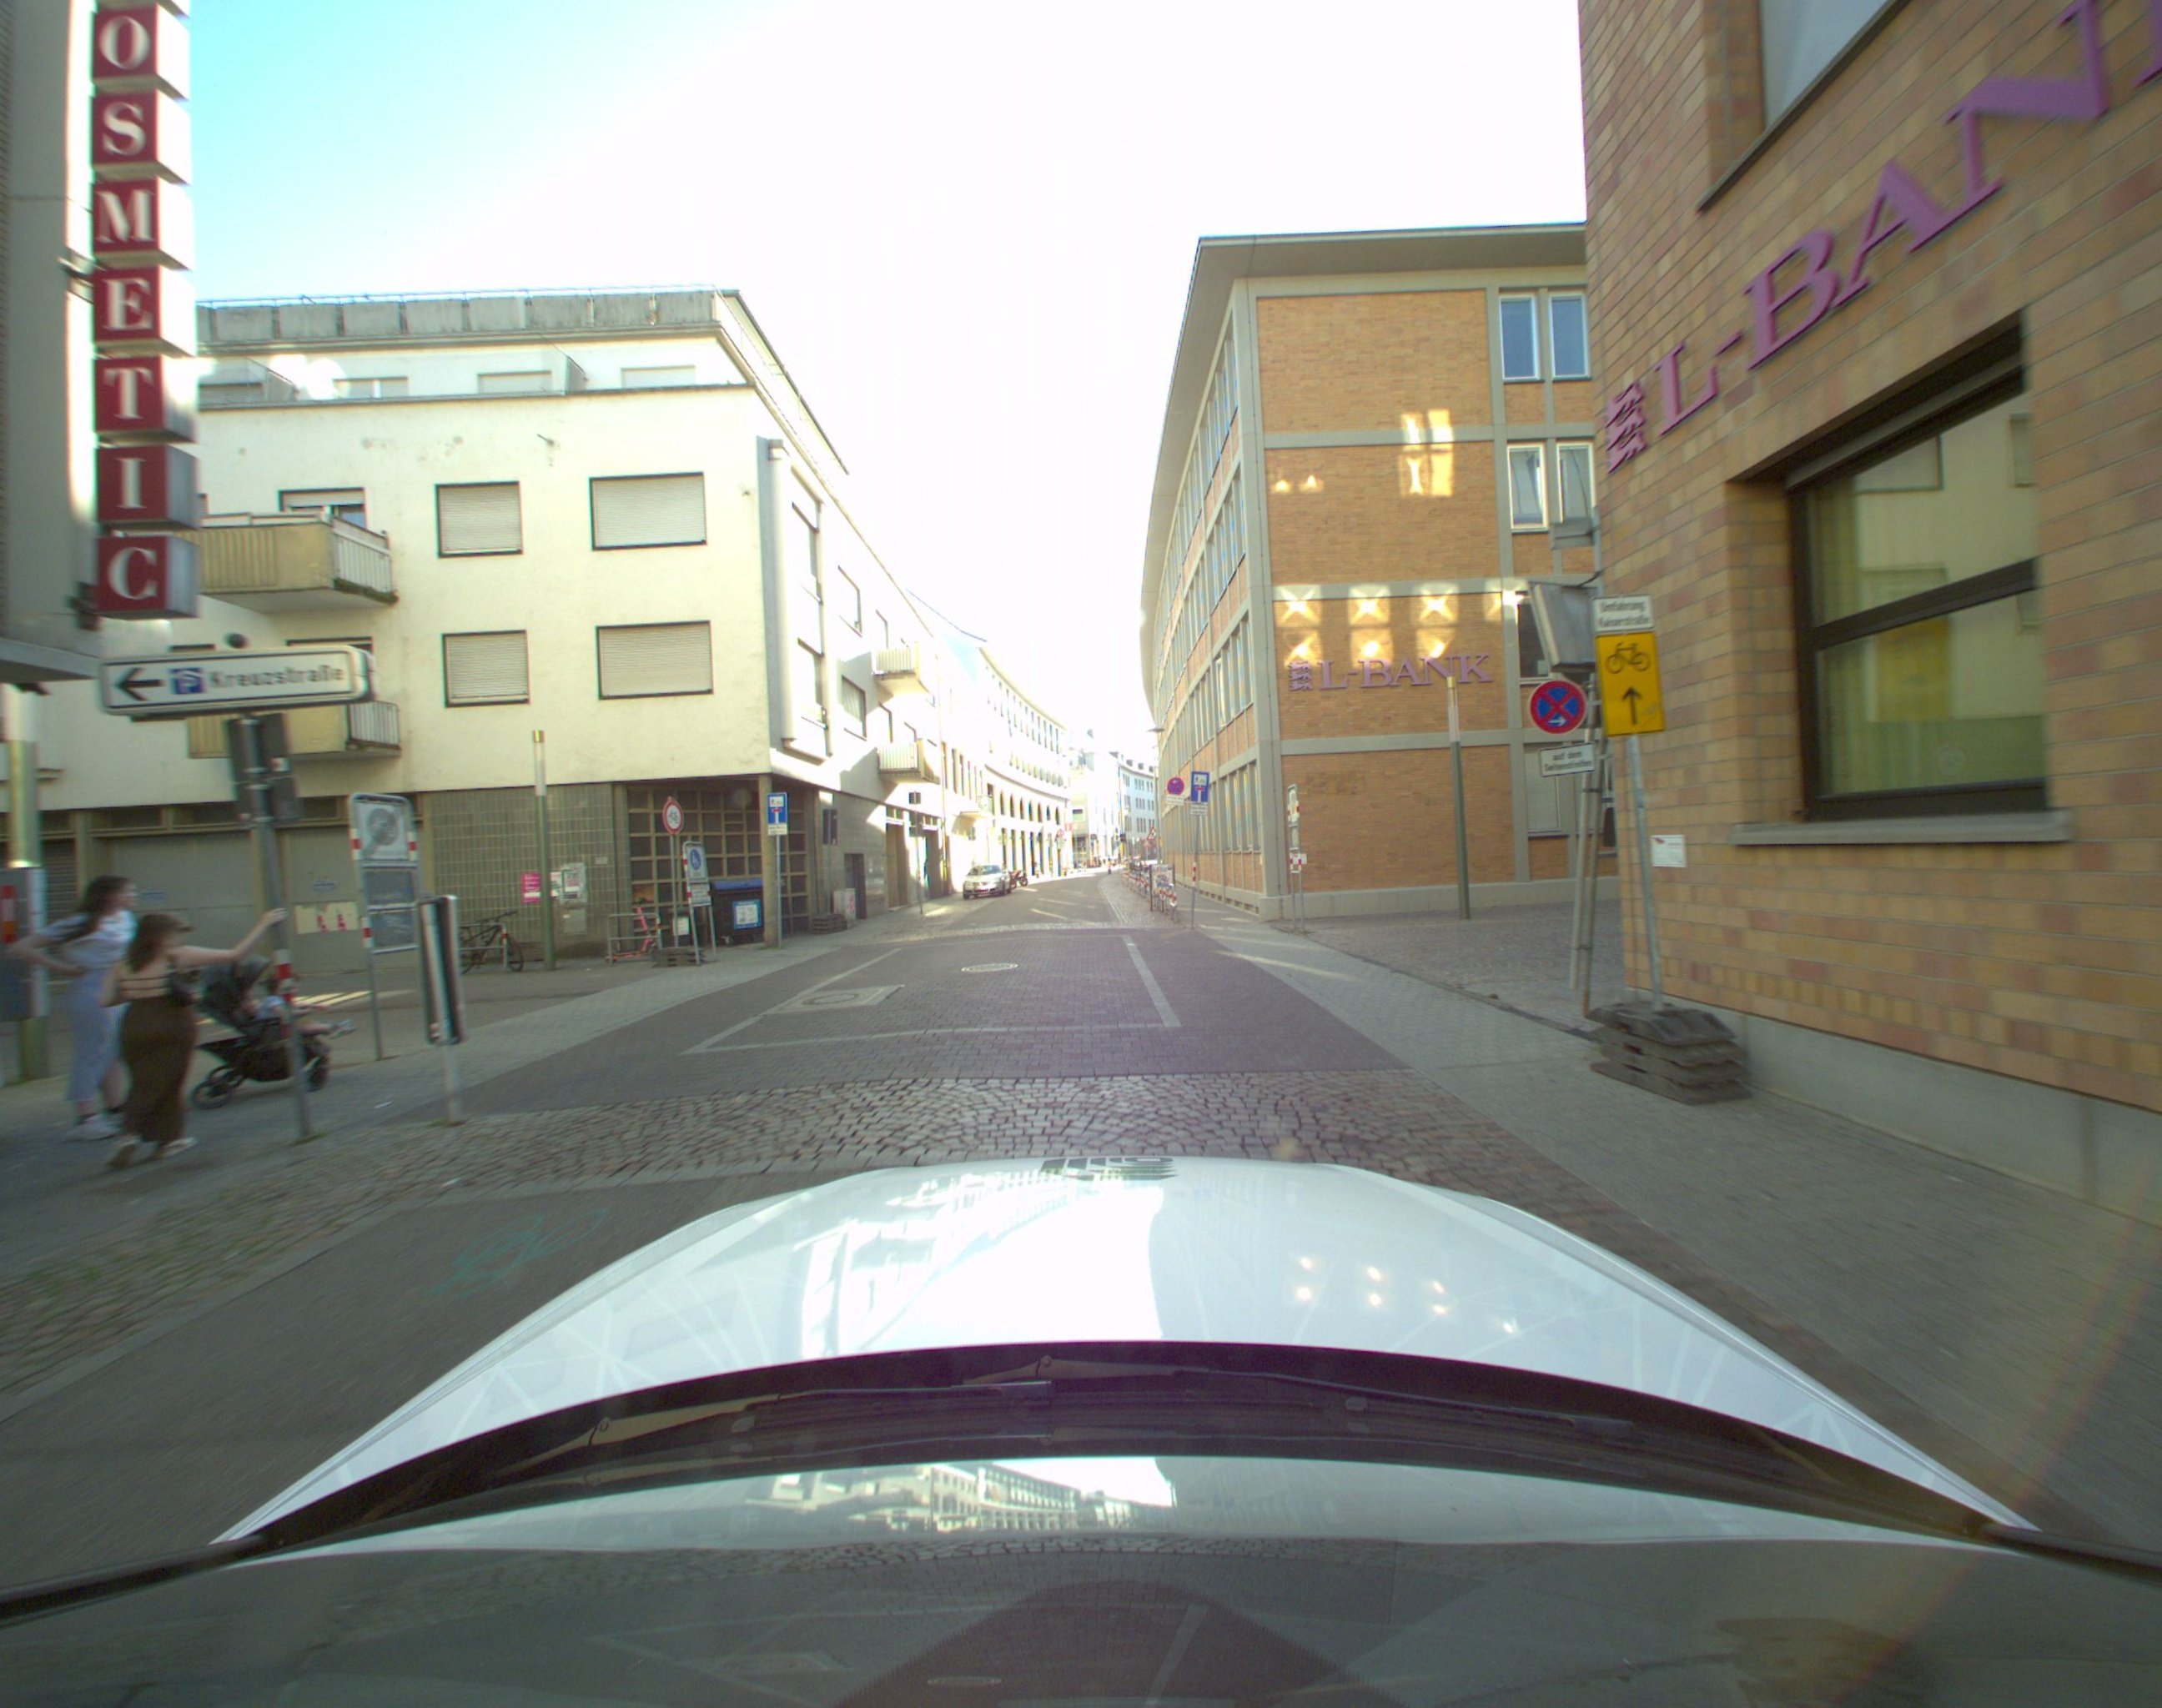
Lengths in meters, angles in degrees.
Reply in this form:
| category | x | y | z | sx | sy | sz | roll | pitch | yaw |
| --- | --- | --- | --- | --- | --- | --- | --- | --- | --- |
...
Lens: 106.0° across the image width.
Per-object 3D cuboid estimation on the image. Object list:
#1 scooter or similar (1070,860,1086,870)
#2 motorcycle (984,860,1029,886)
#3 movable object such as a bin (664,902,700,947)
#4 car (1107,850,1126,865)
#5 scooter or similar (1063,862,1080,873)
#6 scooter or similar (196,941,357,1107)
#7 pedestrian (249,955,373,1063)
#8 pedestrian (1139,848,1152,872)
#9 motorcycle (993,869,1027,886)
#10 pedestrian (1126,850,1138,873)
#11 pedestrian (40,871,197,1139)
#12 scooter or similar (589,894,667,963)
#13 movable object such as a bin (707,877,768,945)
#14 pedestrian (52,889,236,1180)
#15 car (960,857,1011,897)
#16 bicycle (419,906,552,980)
| category | x | y | z | sx | sy | sz | roll | pitch | yaw |
| --- | --- | --- | --- | --- | --- | --- | --- | --- | --- |
| scooter or similar | -0.246 | 1.129 | 81.488 | 0.520 | 0.928 | 2.241 | -2 | 0 | 30 |
| motorcycle | -4.246 | 1.093 | 46.508 | 2.383 | 1.317 | 0.862 | -4 | 0 | -1 |
| movable object such as a bin | -8.557 | 1.502 | 17.483 | 0.519 | 0.902 | 0.540 | -2 | -1 | 43 |
| car | 4.278 | 0.425 | 97.807 | 1.727 | 1.606 | 3.541 | -4 | 0 | 8 |
| scooter or similar | -0.869 | 1.269 | 77.742 | 0.520 | 0.928 | 2.241 | -2 | 0 | 30 |
| scooter or similar | -6.523 | 1.341 | 6.654 | 0.794 | 1.161 | 0.629 | 0 | -1 | -30 |
| pedestrian | -6.332 | 1.254 | 6.730 | 0.586 | 0.715 | 0.640 | -3 | 0 | -30 |
| pedestrian | 4.992 | 0.466 | 63.480 | 0.663 | 1.869 | 0.753 | 0 | -1 | -30 |
| motorcycle | -3.722 | 1.242 | 42.716 | 1.683 | 0.859 | 0.595 | -1 | -1 | 4 |
| pedestrian | 4.320 | 0.623 | 68.716 | 0.663 | 1.869 | 0.778 | 0 | -1 | -30 |
| pedestrian | -6.694 | 1.006 | 5.678 | 0.443 | 1.738 | 0.556 | -3 | 0 | 23 |
| scooter or similar | -8.710 | 1.417 | 15.668 | 1.154 | 1.207 | 0.480 | -4 | 0 | 0 |
| movable object such as a bin | -7.590 | 1.233 | 17.998 | 0.873 | 1.420 | 0.940 | -2 | -1 | 43 |
| pedestrian | -5.794 | 1.057 | 5.073 | 0.650 | 1.625 | 0.452 | -2 | 1 | -42 |
| car | -4.084 | 0.955 | 35.336 | 1.730 | 1.606 | 3.533 | -2 | 0 | 1 |
| bicycle | -10.985 | 1.627 | 15.059 | 1.864 | 1.158 | 0.718 | -4 | 0 | 1 |
